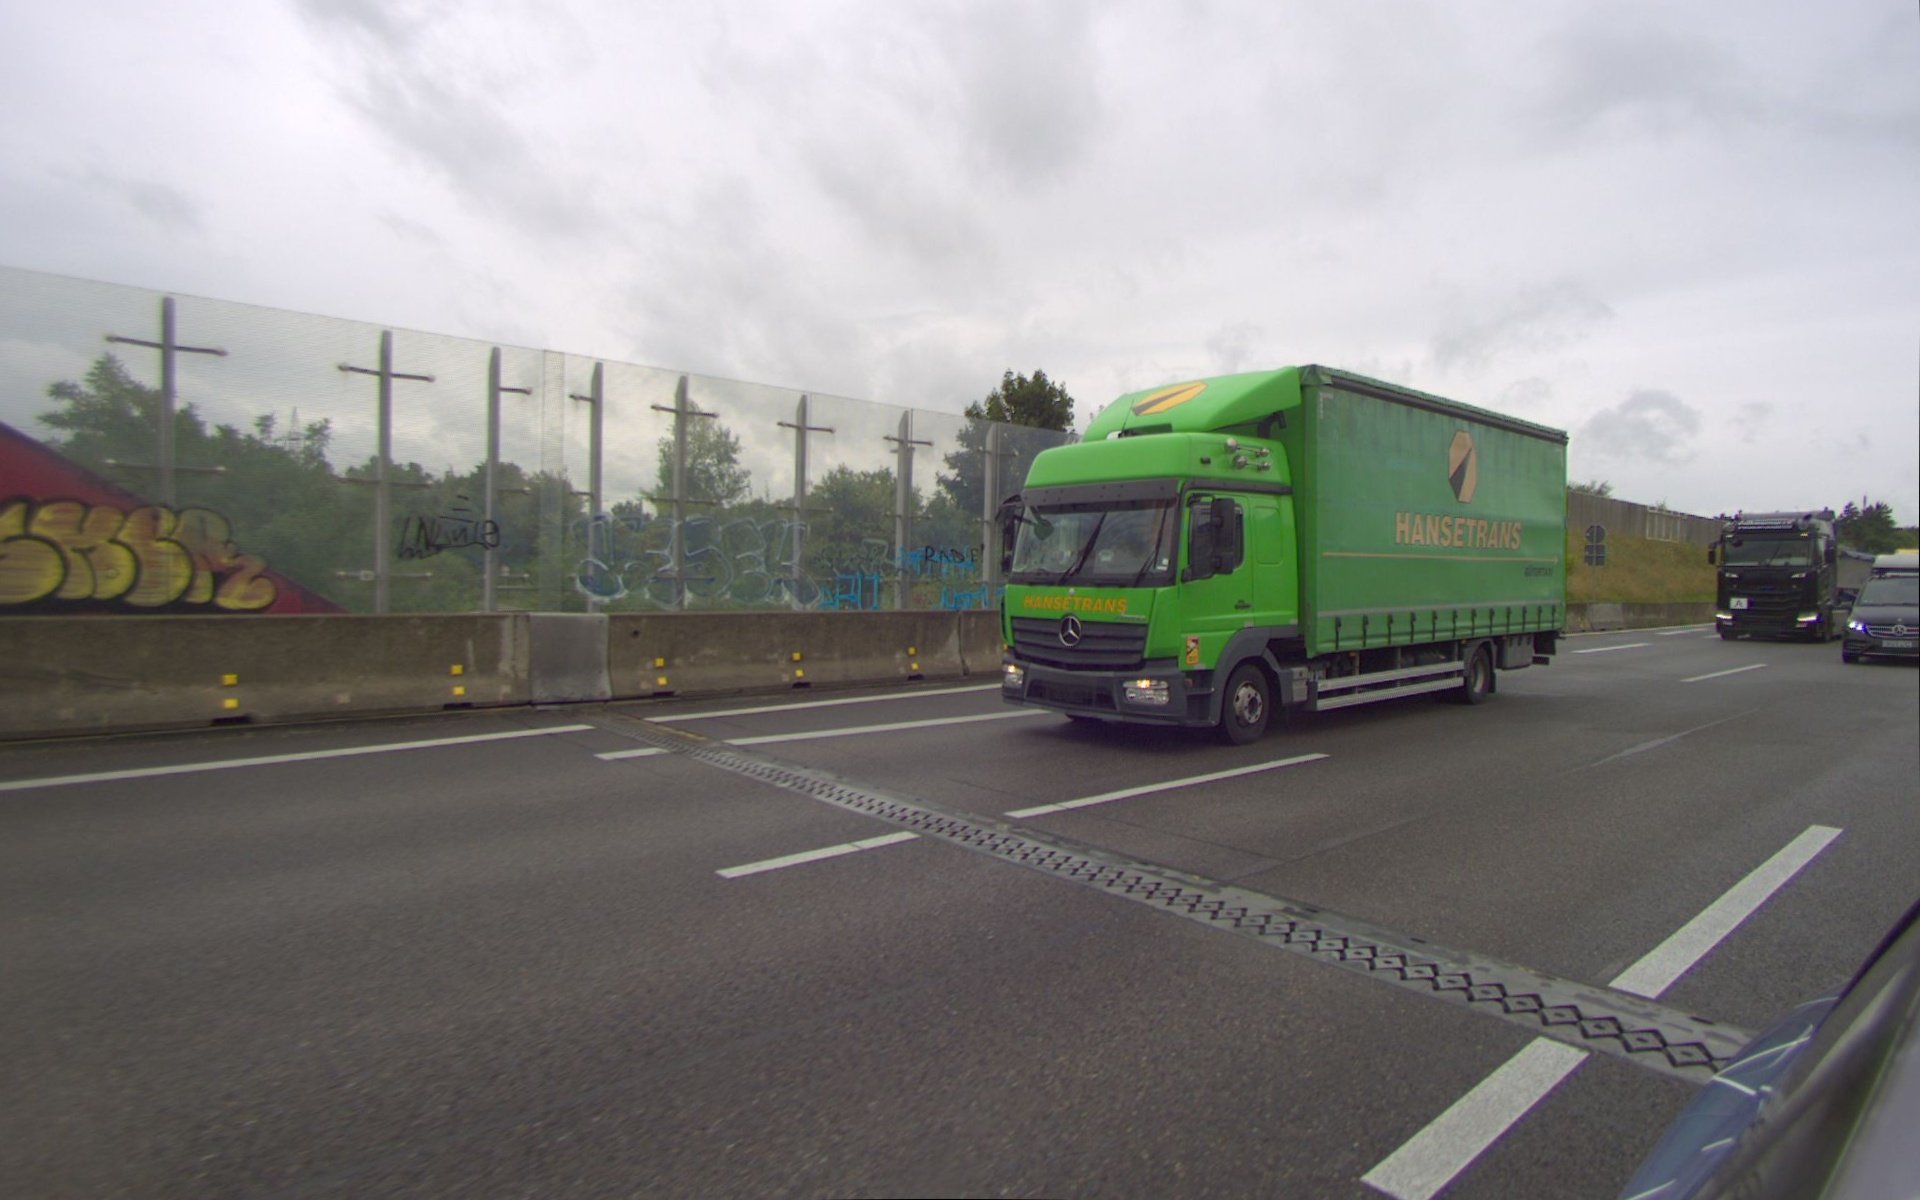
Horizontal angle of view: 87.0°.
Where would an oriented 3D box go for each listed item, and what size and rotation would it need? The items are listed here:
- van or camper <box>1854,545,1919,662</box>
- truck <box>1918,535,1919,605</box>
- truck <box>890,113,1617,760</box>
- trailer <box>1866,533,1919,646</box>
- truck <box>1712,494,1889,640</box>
[{"bbox_3d":[20.939,0.058,21.800,5.582,2.298,1.893,0,0,-42],"label":"van or camper"},{"bbox_3d":[59.308,-1.769,60.317,9.170,4.008,2.688,-1,0,-43],"label":"truck"},{"bbox_3d":[4.666,-1.420,13.497,11.024,5.332,4.004,-1,1,-41],"label":"truck"},{"bbox_3d":[25.779,-0.231,26.121,7.382,2.675,2.726,0,2,-42],"label":"trailer"},{"bbox_3d":[27.812,-1.021,33.144,12.499,3.999,2.816,-1,2,-43],"label":"truck"}]
